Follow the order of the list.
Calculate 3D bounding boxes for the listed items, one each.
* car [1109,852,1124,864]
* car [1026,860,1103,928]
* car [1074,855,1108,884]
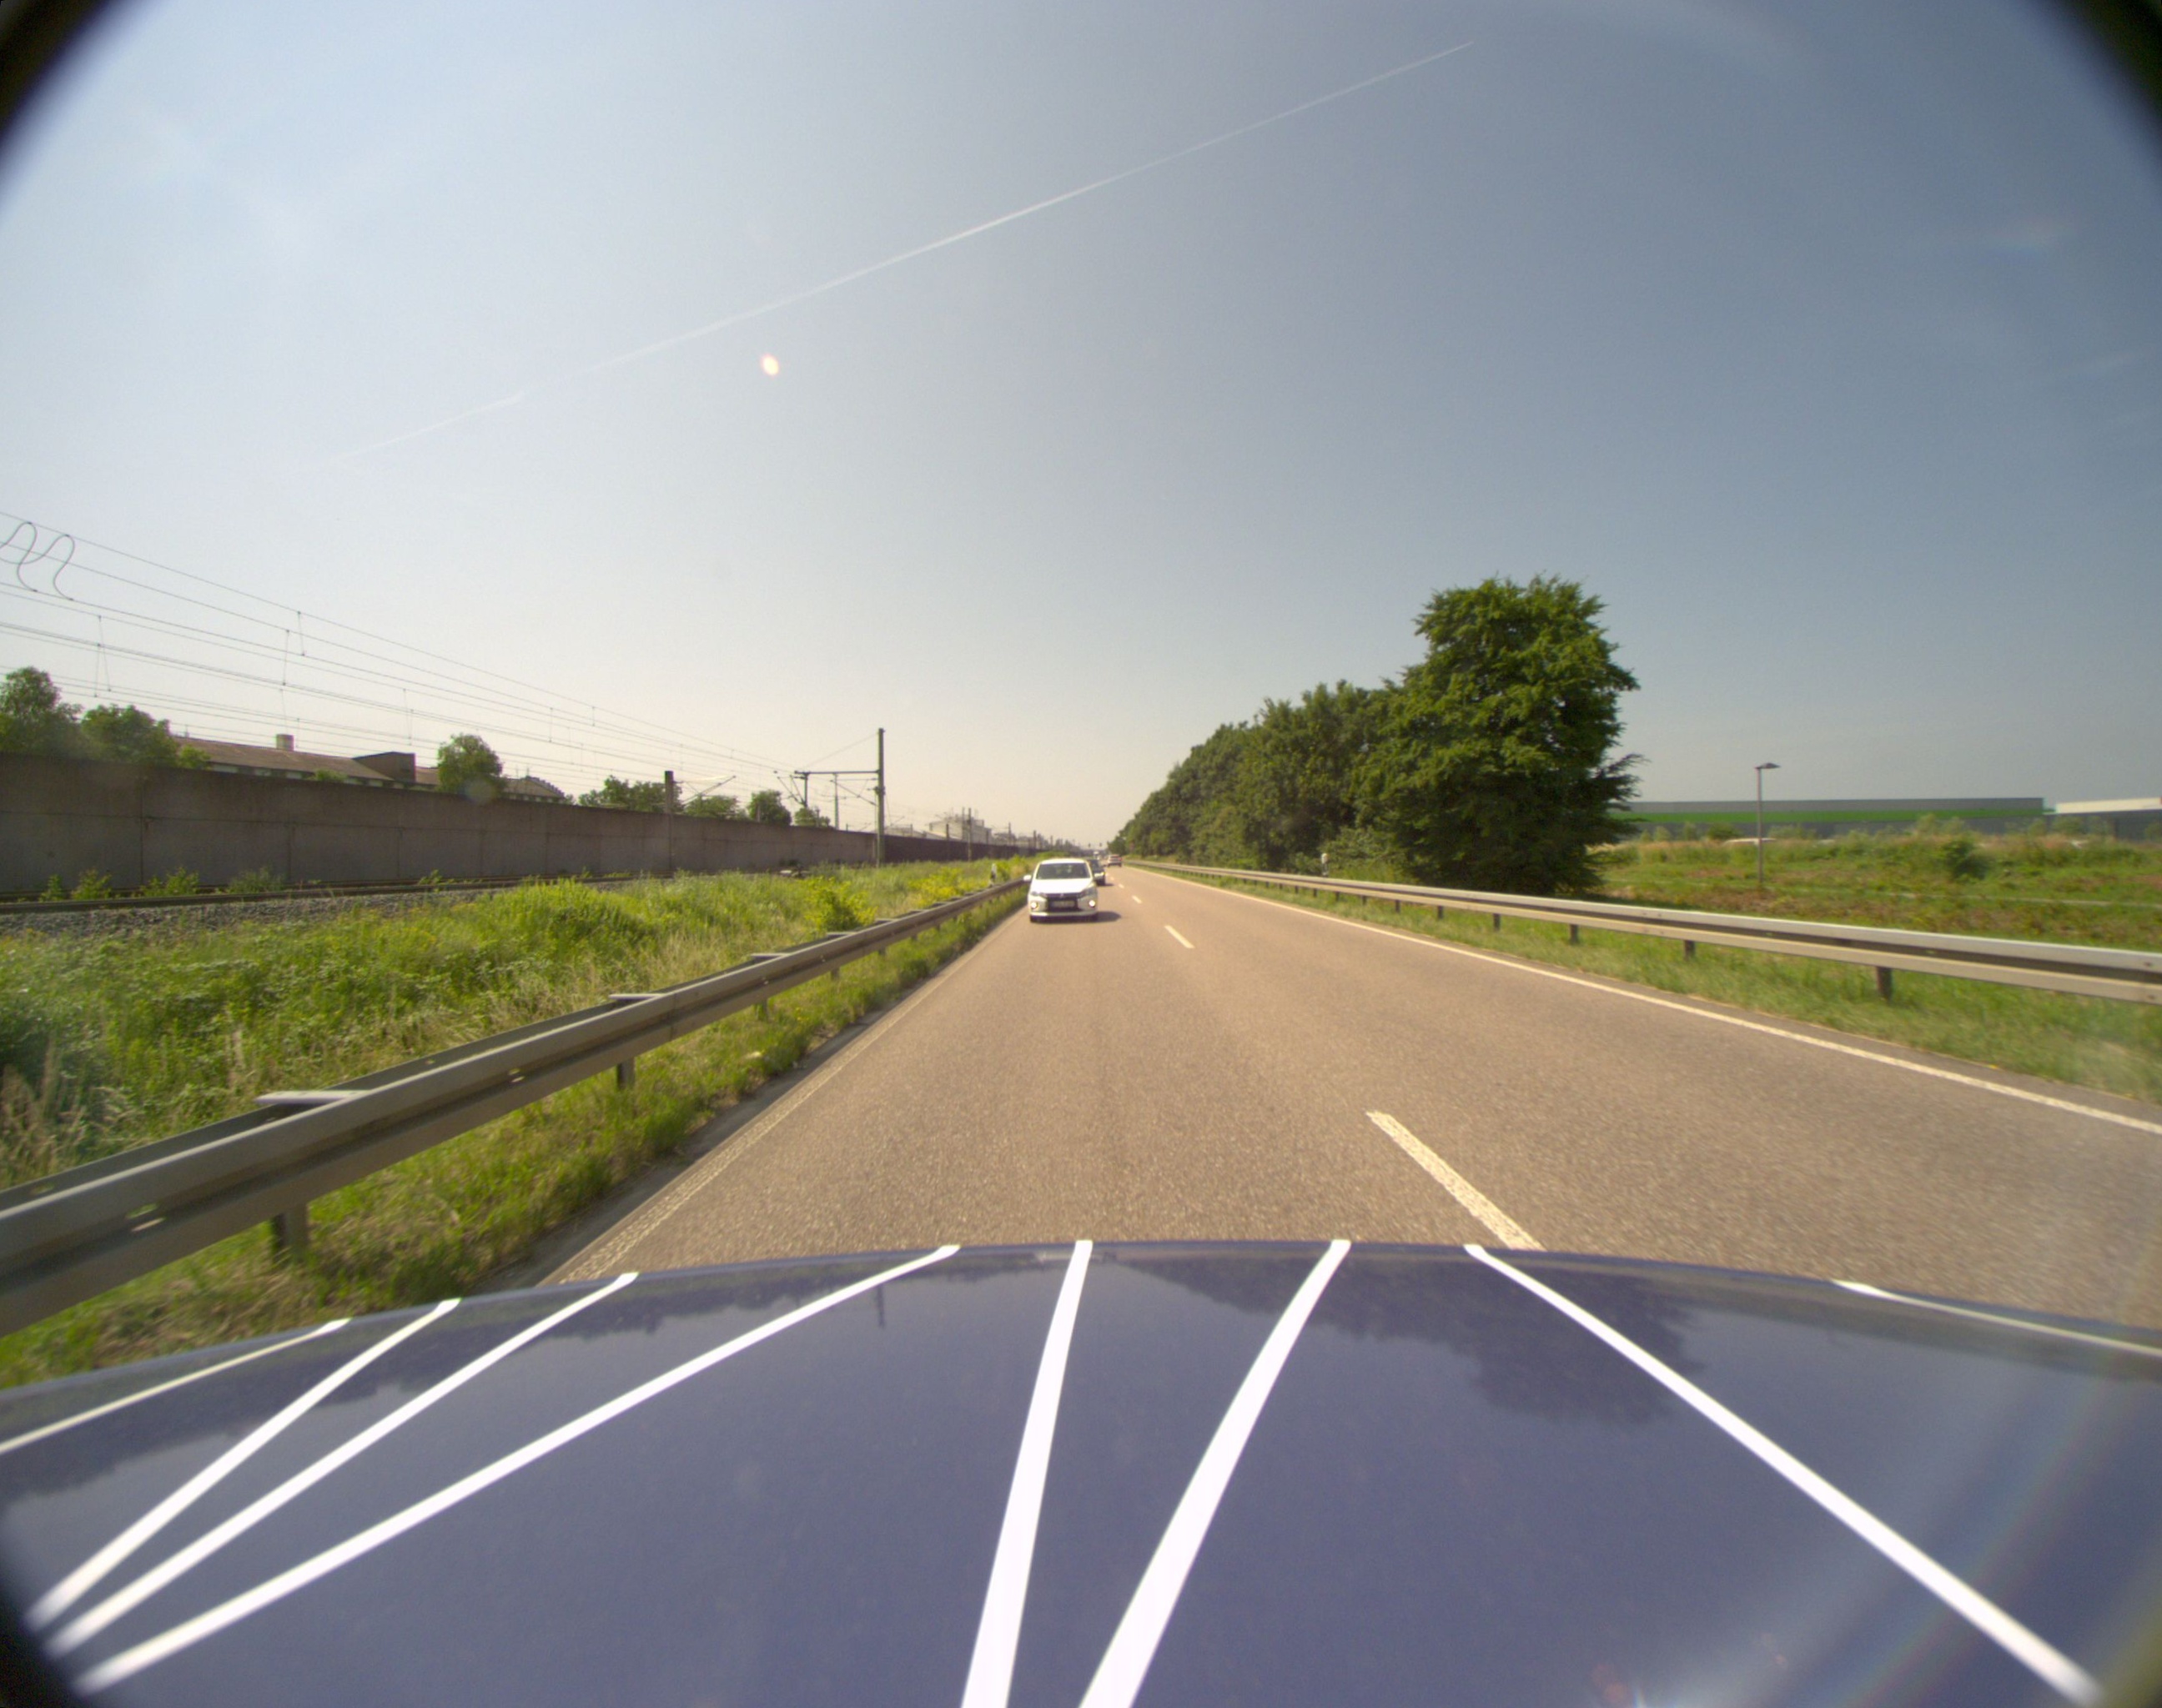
[{"bbox_3d":[4.486,0.454,97.507,1.710,1.471,4.155,-2,0,0],"label":"car"},{"bbox_3d":[-0.356,0.925,19.430,1.701,1.471,4.155,-2,0,0],"label":"car"},{"bbox_3d":[0.524,0.805,41.607,1.710,1.471,4.155,-2,0,0],"label":"car"}]
